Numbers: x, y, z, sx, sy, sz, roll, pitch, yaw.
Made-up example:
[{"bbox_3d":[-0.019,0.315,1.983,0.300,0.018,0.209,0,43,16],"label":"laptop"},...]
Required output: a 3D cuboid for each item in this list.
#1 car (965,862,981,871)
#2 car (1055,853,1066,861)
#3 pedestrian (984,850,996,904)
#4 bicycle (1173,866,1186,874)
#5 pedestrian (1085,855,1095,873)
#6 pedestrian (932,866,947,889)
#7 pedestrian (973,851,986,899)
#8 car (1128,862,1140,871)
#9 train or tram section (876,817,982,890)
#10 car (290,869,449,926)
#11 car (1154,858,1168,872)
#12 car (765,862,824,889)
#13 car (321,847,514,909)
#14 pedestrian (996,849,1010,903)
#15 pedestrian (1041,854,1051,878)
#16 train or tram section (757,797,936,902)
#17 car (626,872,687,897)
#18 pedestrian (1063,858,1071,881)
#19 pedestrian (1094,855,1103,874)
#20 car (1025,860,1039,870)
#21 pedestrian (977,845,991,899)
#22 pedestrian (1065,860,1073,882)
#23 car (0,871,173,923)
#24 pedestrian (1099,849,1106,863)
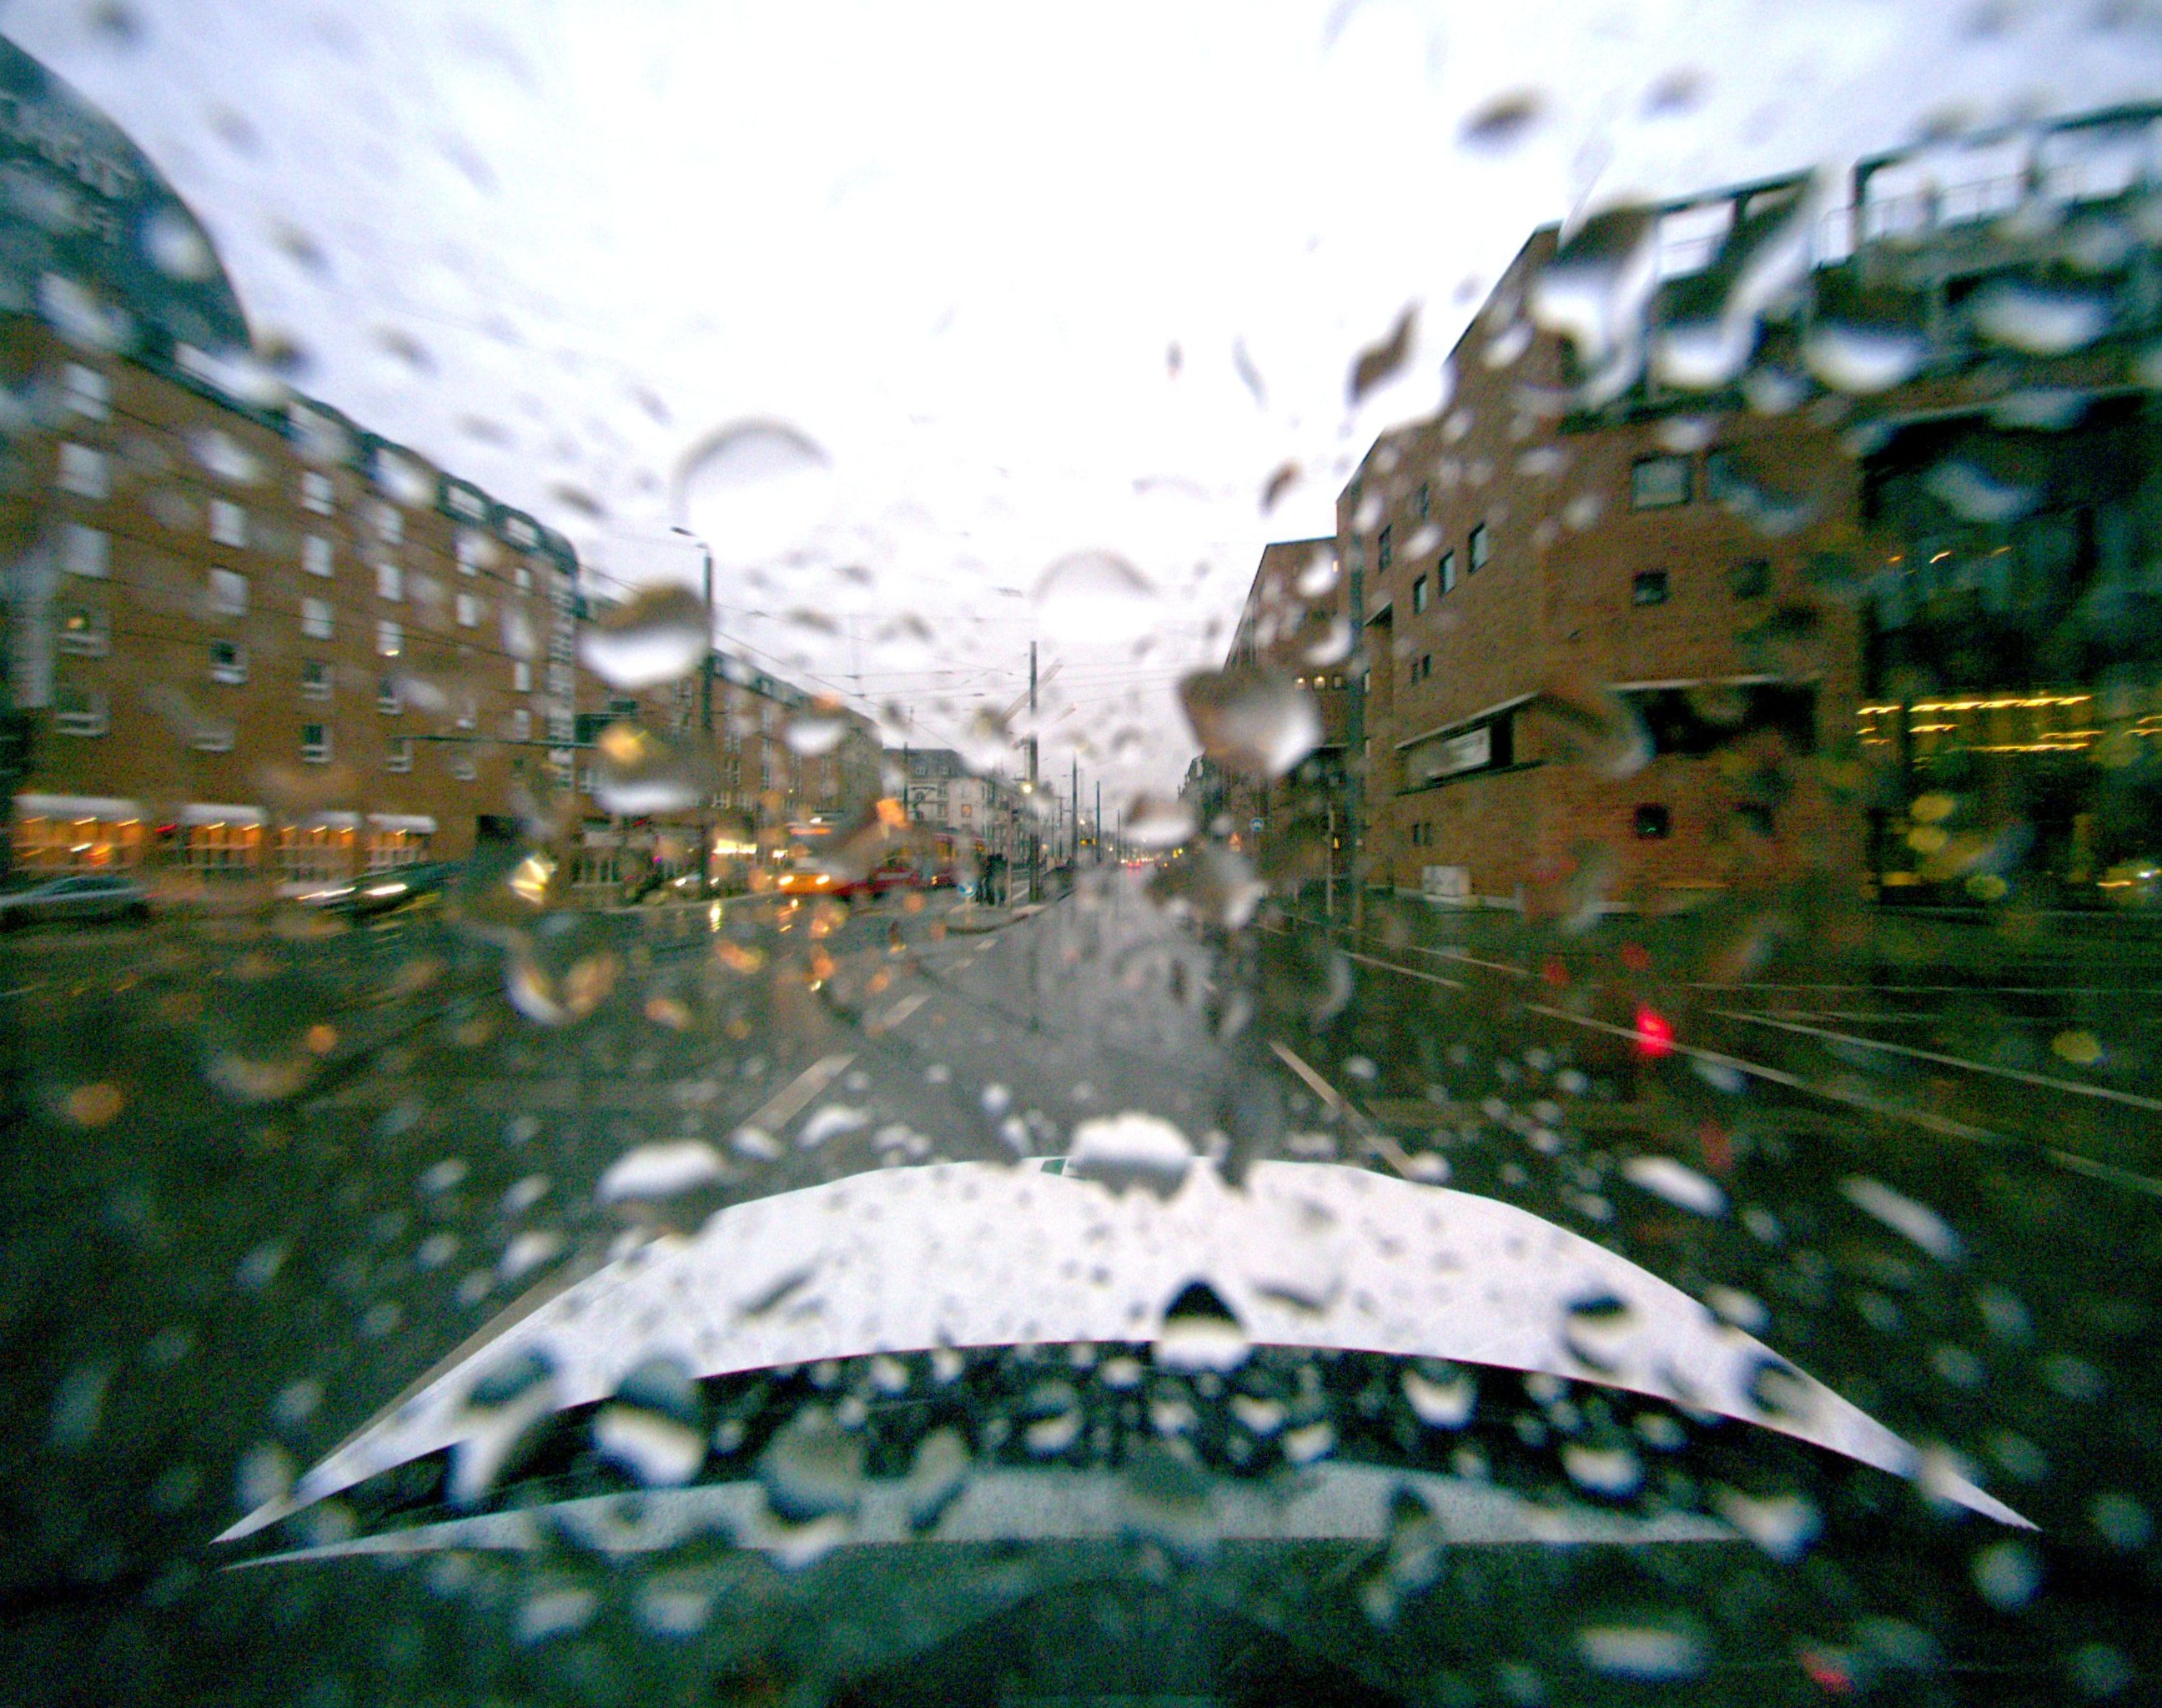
[{"bbox_3d":[-16.394,1.838,123.285,1.674,1.354,3.549,1,-1,4],"label":"car"},{"bbox_3d":[-3.542,0.517,141.838,1.674,1.354,3.549,1,-1,4],"label":"car"},{"bbox_3d":[-3.065,0.778,27.444,0.358,1.787,0.440,0,-1,0],"label":"pedestrian"},{"bbox_3d":[13.624,2.227,113.055,1.722,1.055,0.371,-1,-1,3],"label":"bicycle"},{"bbox_3d":[0.870,0.978,77.826,0.777,1.704,0.769,1,-1,-14],"label":"pedestrian"},{"bbox_3d":[-7.036,1.165,40.534,0.577,1.152,0.491,2,-1,6],"label":"pedestrian"},{"bbox_3d":[-3.702,0.753,29.722,0.432,1.735,0.473,0,-1,-1],"label":"pedestrian"},{"bbox_3d":[8.885,2.091,136.709,1.775,1.467,3.154,0,0,6],"label":"car"},{"bbox_3d":[-8.303,0.012,46.282,2.911,3.578,11.050,2,0,5],"label":"train or tram section"},{"bbox_3d":[-23.424,1.380,27.029,1.676,1.709,3.860,0,0,4],"label":"car"},{"bbox_3d":[12.146,1.626,123.956,1.983,2.014,4.007,0,0,6],"label":"car"},{"bbox_3d":[-15.466,1.128,44.160,1.674,1.354,3.549,1,-1,4],"label":"car"},{"bbox_3d":[-20.184,0.680,25.116,1.820,1.709,4.711,0,0,4],"label":"car"},{"bbox_3d":[-2.677,0.744,27.955,0.410,1.845,0.669,0,-1,0],"label":"pedestrian"},{"bbox_3d":[-2.337,0.807,54.767,0.615,1.590,0.622,0,-1,2],"label":"pedestrian"},{"bbox_3d":[-9.322,-0.114,34.654,2.936,3.589,12.272,2,0,5],"label":"train or tram section"},{"bbox_3d":[-27.804,1.987,53.468,1.605,1.491,4.232,0,0,3],"label":"car"},{"bbox_3d":[-1.067,1.175,60.734,0.537,1.692,0.644,0,-1,2],"label":"pedestrian"},{"bbox_3d":[1.807,1.076,84.575,0.806,1.947,0.805,0,0,5],"label":"pedestrian"},{"bbox_3d":[-7.121,1.628,118.833,1.674,1.354,3.549,1,-1,4],"label":"car"},{"bbox_3d":[-3.605,0.671,30.267,0.432,1.967,0.473,0,-1,-1],"label":"pedestrian"},{"bbox_3d":[-0.834,1.232,58.696,0.537,1.590,0.563,0,-1,2],"label":"pedestrian"},{"bbox_3d":[-28.760,1.152,22.787,1.601,1.321,4.241,0,-1,11],"label":"car"},{"bbox_3d":[2.397,0.238,90.171,0.679,1.516,0.617,1,-1,-8],"label":"pedestrian"}]
